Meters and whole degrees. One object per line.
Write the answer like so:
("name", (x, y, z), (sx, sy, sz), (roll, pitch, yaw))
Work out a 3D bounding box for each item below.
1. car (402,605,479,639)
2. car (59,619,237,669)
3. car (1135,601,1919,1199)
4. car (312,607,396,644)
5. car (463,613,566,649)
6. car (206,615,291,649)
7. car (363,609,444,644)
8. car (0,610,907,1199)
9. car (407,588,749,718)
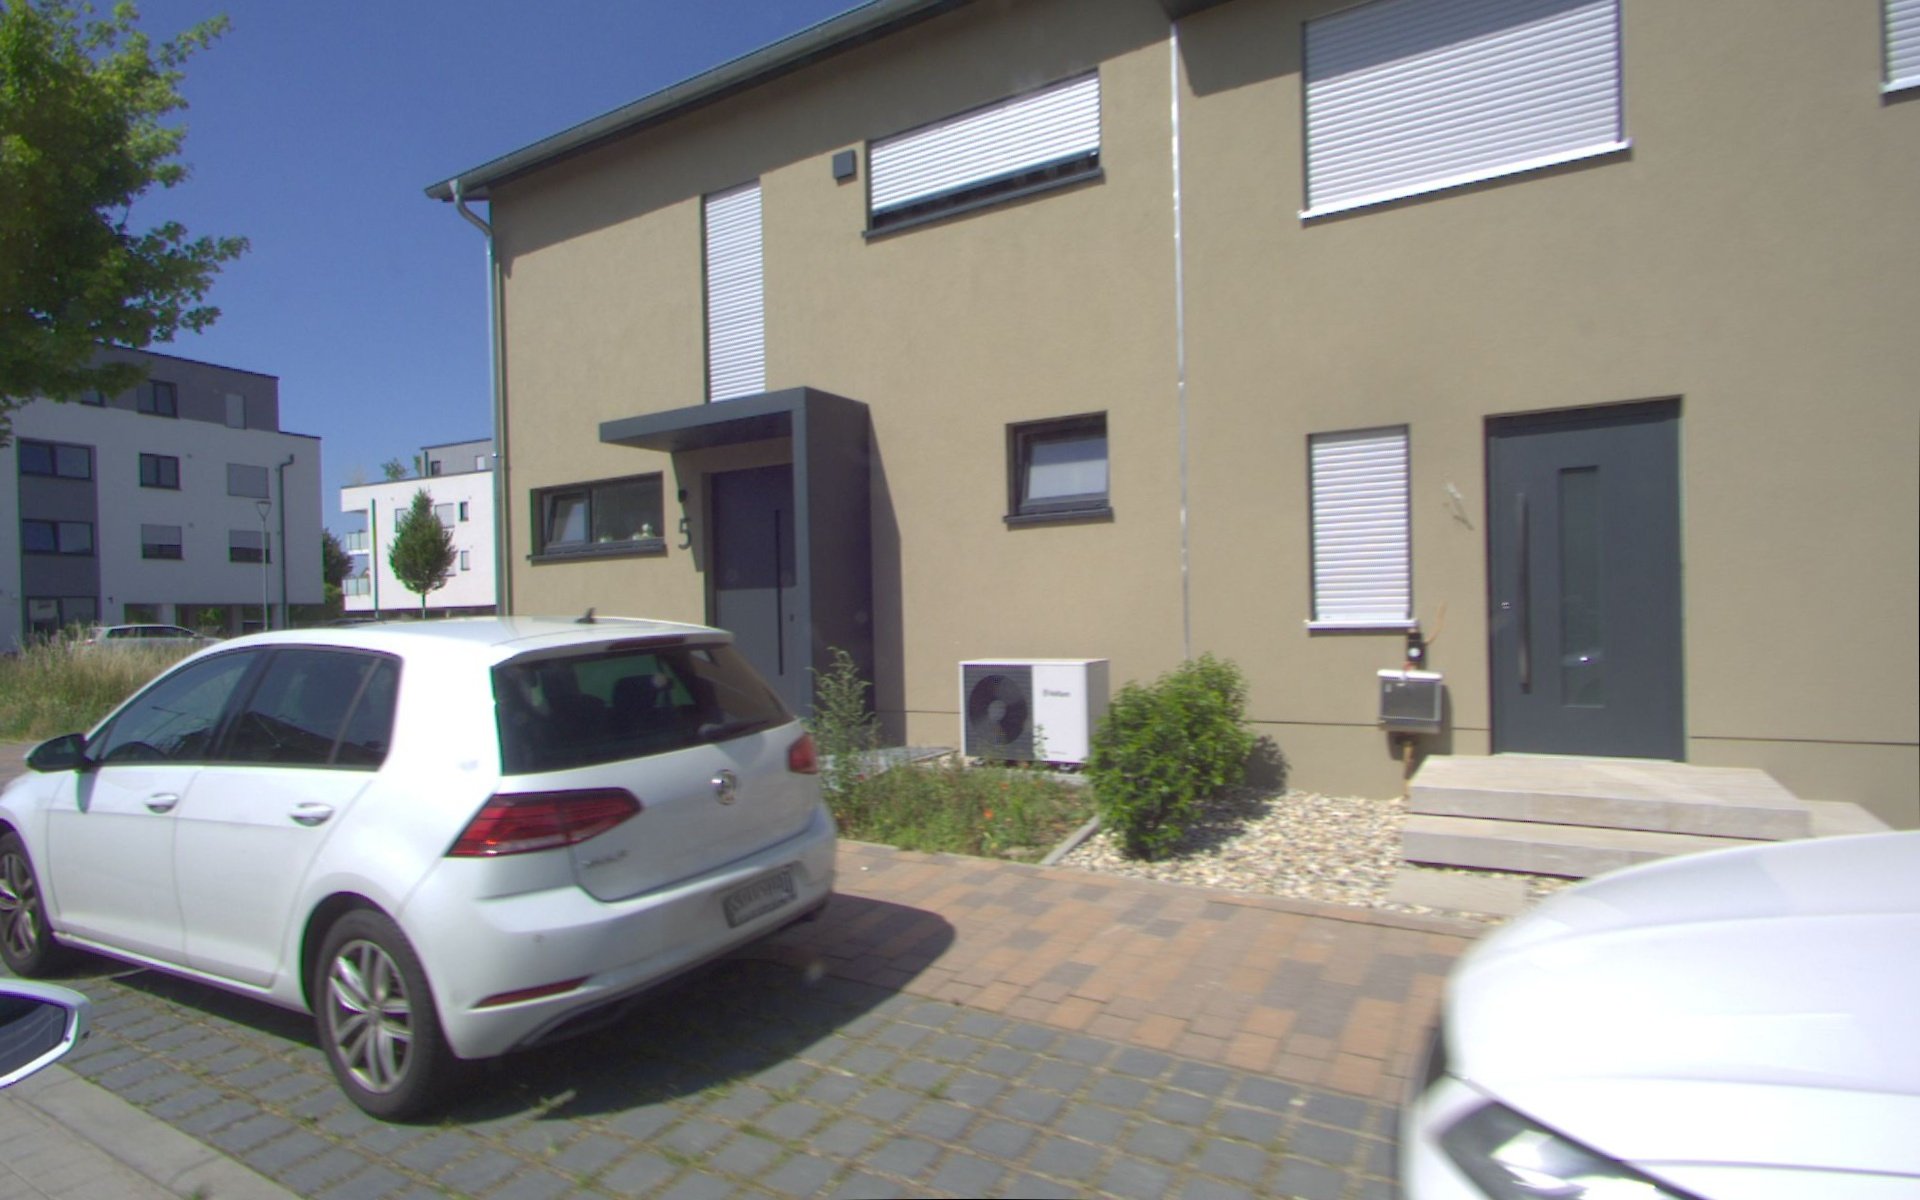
("car", (-30.247, 1.278, 58.276), (4.106, 1.833, 1.876), (-2, -1, 26))
("car", (-26.719, 1.423, 33.116), (1.852, 1.454, 4.158), (-2, -1, 25))
("car", (2.619, 0.737, 0.904), (4.498, 1.475, 1.810), (-1, 1, 31))
("car", (-32.109, 1.342, 53.025), (4.106, 1.833, 1.876), (-2, -1, 26))
("car", (-20.660, 1.419, 46.631), (1.852, 1.497, 4.158), (-2, -1, 25))
("car", (-34.776, 1.584, 48.963), (3.621, 1.522, 1.876), (-2, -1, 26))
("car", (-30.954, 1.475, 55.704), (4.106, 1.833, 1.876), (-2, -1, 26))
("car", (-2.582, 0.798, 4.358), (4.446, 1.445, 1.776), (0, 1, 30))
("car", (-5.576, 0.686, 15.341), (1.969, 1.666, 4.741), (-2, 0, 28))
